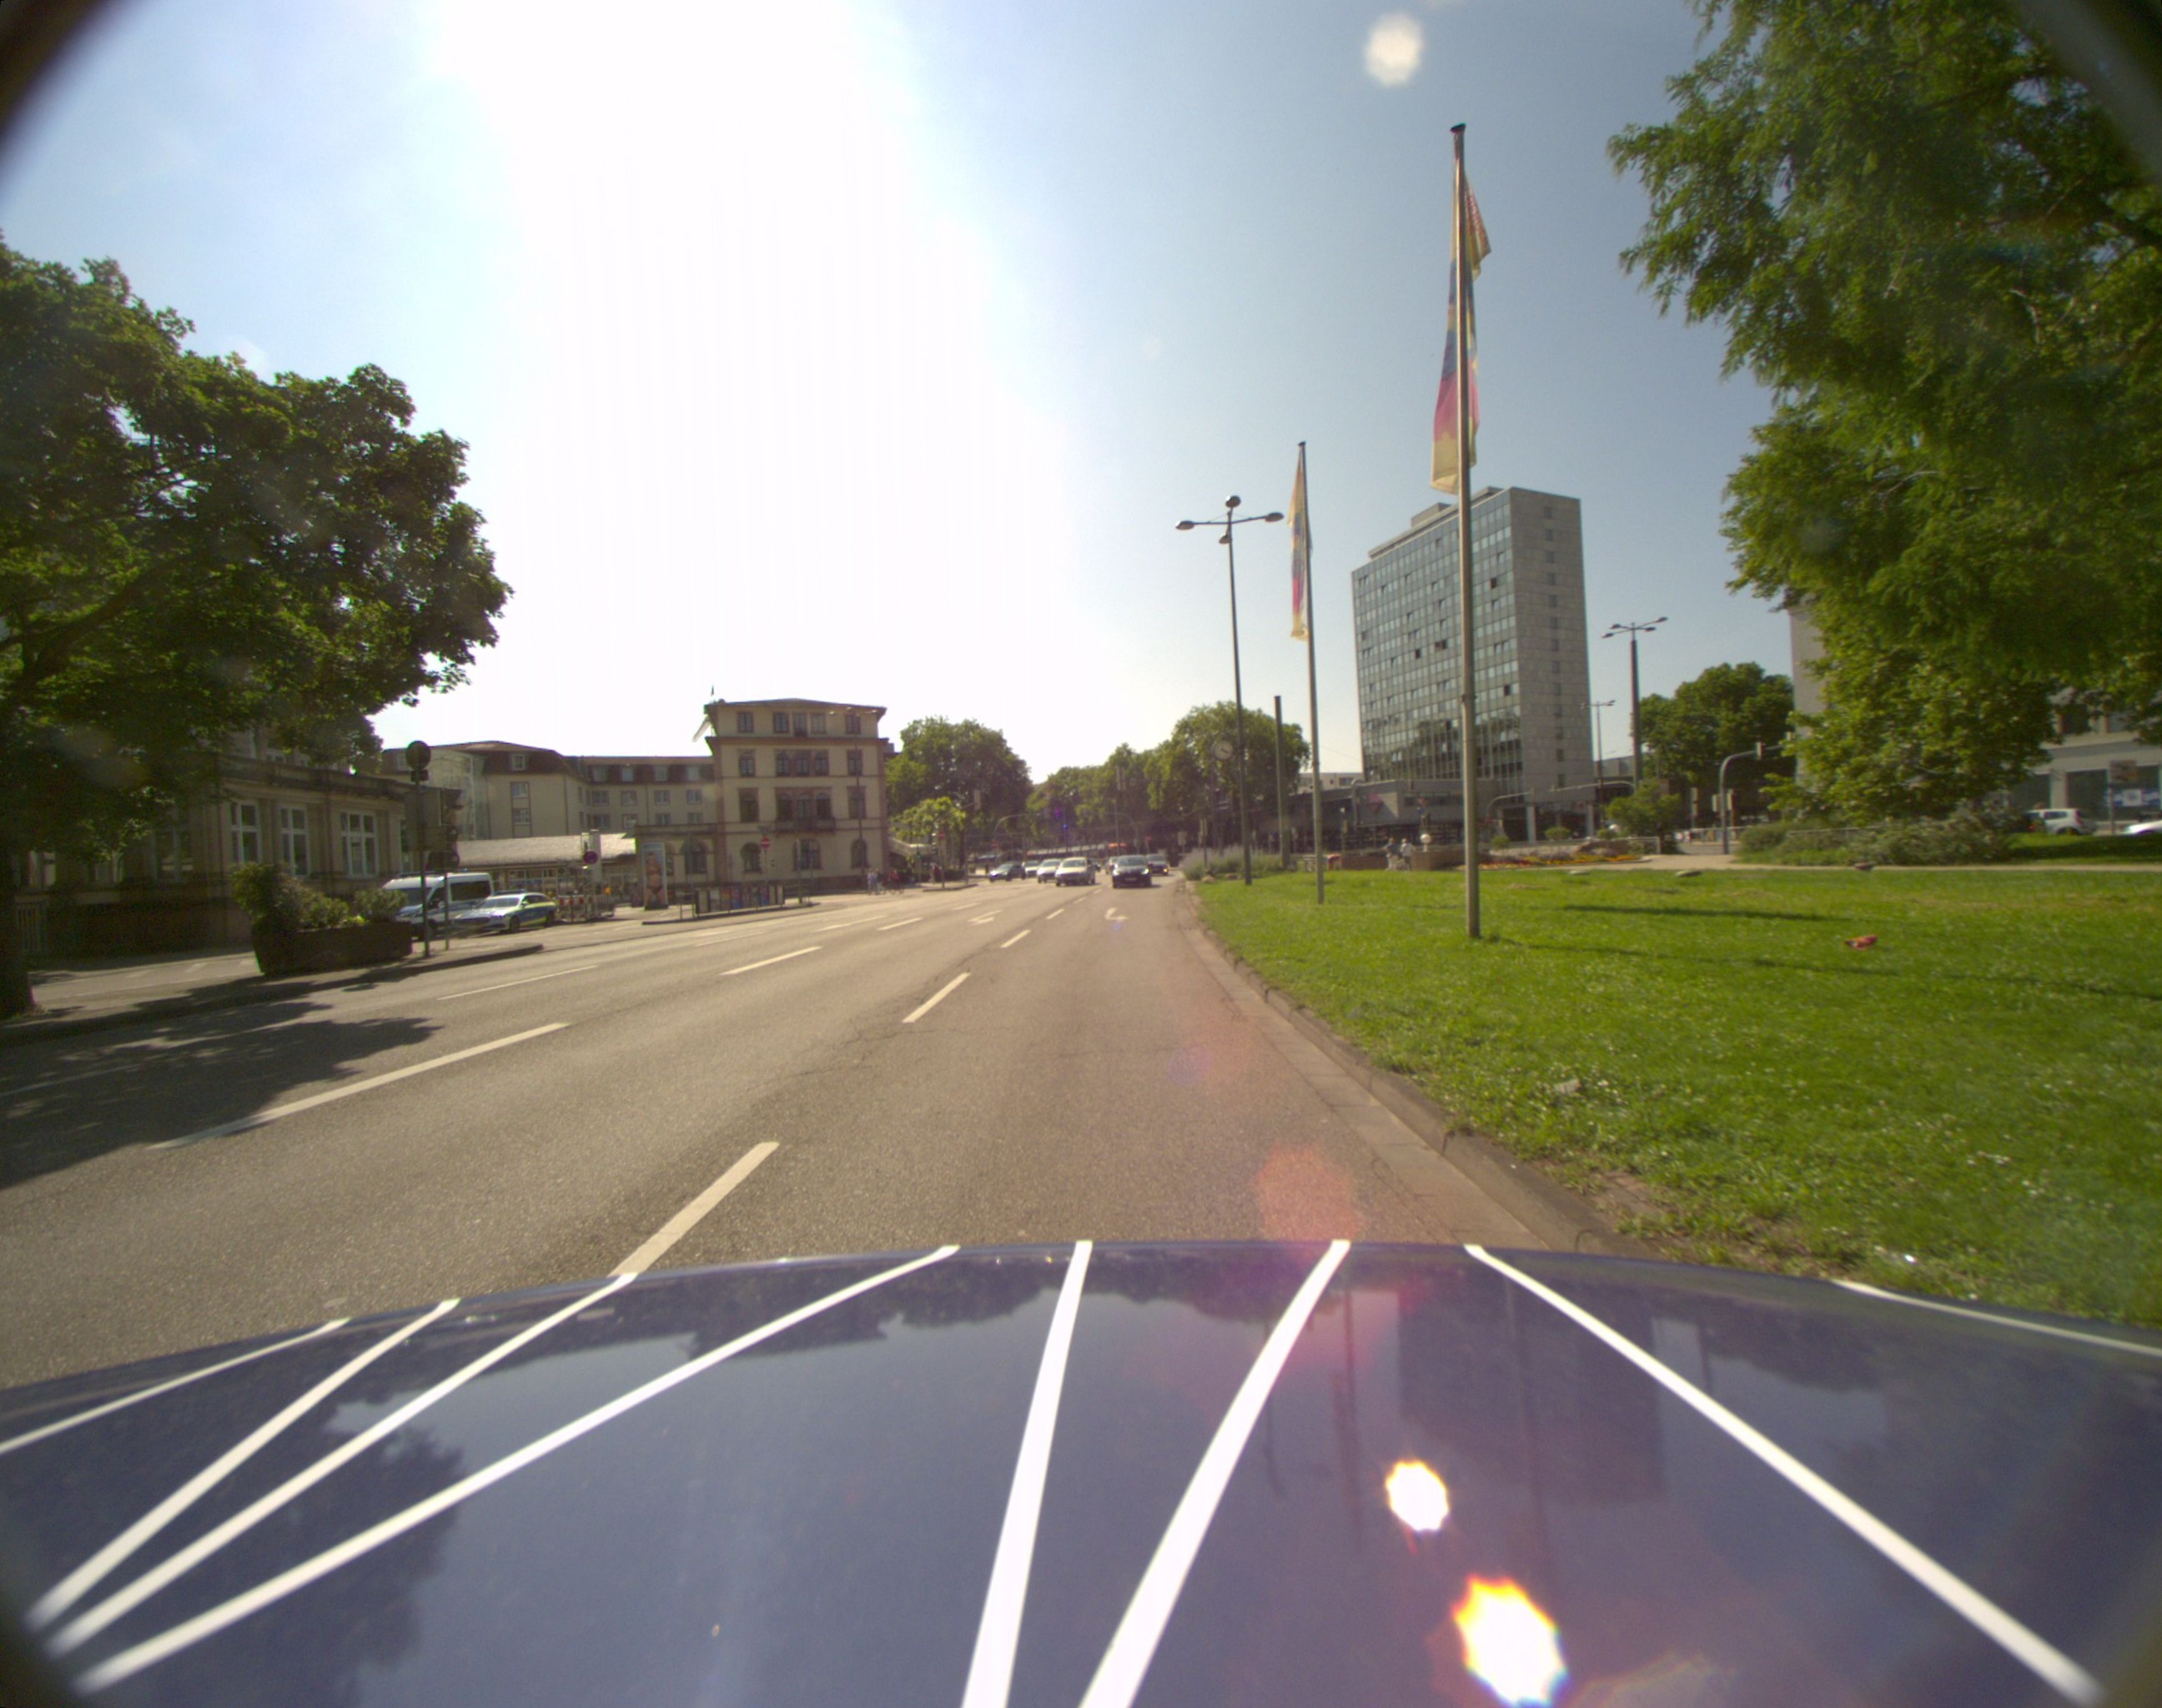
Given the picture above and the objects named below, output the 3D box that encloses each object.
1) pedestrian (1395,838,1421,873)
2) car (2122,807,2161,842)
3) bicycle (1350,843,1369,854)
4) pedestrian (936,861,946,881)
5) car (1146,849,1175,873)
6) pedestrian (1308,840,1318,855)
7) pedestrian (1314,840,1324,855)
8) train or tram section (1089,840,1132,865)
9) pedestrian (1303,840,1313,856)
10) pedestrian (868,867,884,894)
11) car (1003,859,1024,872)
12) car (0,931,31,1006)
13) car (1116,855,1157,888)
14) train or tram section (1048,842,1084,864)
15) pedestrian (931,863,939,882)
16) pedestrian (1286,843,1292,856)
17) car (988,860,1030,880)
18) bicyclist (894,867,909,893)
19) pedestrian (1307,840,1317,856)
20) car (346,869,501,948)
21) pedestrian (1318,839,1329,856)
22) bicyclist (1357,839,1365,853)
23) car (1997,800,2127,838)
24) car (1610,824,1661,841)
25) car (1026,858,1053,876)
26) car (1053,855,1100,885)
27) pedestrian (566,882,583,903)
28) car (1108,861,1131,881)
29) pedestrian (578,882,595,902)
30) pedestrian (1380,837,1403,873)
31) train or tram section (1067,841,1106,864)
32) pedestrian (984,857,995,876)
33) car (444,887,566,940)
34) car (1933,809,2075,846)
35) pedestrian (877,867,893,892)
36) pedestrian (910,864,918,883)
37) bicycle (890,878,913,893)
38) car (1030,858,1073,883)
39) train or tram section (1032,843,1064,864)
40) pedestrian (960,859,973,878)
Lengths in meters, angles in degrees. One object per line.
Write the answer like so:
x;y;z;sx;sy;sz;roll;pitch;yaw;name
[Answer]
14.768;0.062;34.320;0.851;1.501;0.475;-3;1;-9;pedestrian
41.654;-1.179;27.986;1.613;1.261;3.579;-3;0;-22;car
32.698;-0.628;89.131;1.969;1.096;0.576;-3;0;-6;bicycle
-12.453;1.513;67.696;0.726;1.795;0.652;-3;1;-15;pedestrian
5.354;0.458;51.349;1.790;1.484;4.089;-2;0;4;car
27.805;-0.764;91.137;0.824;1.796;0.670;-3;1;-18;pedestrian
27.794;-0.757;88.649;0.824;1.825;0.734;-3;1;-22;pedestrian
4.142;-0.214;109.224;2.737;3.248;8.722;-4;0;-22;train or tram section
26.647;-0.719;89.095;0.824;1.825;0.670;-3;1;-23;pedestrian
-13.248;1.697;49.100;0.753;1.650;0.829;-3;0;-3;pedestrian
-8.018;1.349;89.749;1.793;1.516;3.969;-2;0;-15;car
-23.208;2.402;14.381;1.745;1.410;3.707;-3;0;41;car
2.628;0.777;35.901;1.790;1.443;4.282;-2;0;5;car
-2.588;-0.086;125.538;2.737;3.248;8.722;-4;0;-22;train or tram section
-12.816;1.597;66.494;0.535;1.639;0.579;-3;1;-19;pedestrian
25.003;-0.551;91.296;0.565;1.628;0.600;-2;1;6;pedestrian
-5.900;1.293;62.811;1.788;1.443;3.980;-2;0;23;car
-11.429;1.651;48.299;0.592;1.597;0.685;-3;1;16;bicyclist
26.624;-0.701;87.511;0.824;1.825;0.670;-3;1;-23;pedestrian
-24.897;1.934;29.118;2.000;2.588;5.313;-4;0;-11;car
28.075;-0.756;87.957;0.824;1.825;0.670;-3;1;-22;pedestrian
32.837;-0.936;89.146;0.684;1.677;0.583;-3;1;-6;bicyclist
45.617;-1.599;35.414;1.519;1.456;3.403;-4;0;-22;car
57.846;-2.278;79.326;4.078;1.525;1.881;-3;0;-9;car
-3.788;1.133;69.828;1.790;1.521;3.976;-2;0;7;car
-0.161;0.841;40.633;1.718;1.491;4.494;-2;-1;9;car
-39.702;3.042;59.580;0.724;1.594;0.719;-3;0;-2;pedestrian
3.172;1.409;63.320;1.791;1.514;3.974;-2;0;1;car
-39.410;3.024;60.552;0.724;1.594;0.719;-3;0;0;pedestrian
14.005;0.057;34.266;0.692;1.584;0.599;-3;1;-9;pedestrian
0.733;-0.149;117.465;2.737;3.248;8.722;-4;0;-22;train or tram section
-8.894;1.191;73.754;0.730;1.834;0.590;-4;1;-44;pedestrian
-22.224;2.211;29.581;1.823;1.617;4.875;-4;0;-12;car
39.968;-1.133;32.996;1.613;1.338;3.579;-3;0;-22;car
-12.924;1.652;50.099;0.773;1.563;0.829;-3;0;-2;pedestrian
-14.840;1.697;67.570;0.535;1.639;0.673;-3;1;-19;pedestrian
-11.404;2.002;48.316;0.592;0.850;1.746;-3;0;16;bicycle
-1.905;1.062;49.575;1.789;1.443;3.977;-2;0;13;car
-5.885;-0.023;133.622;2.737;3.248;8.722;-4;0;-22;train or tram section
-10.254;1.292;68.074;0.845;1.685;0.743;-3;1;-23;pedestrian
